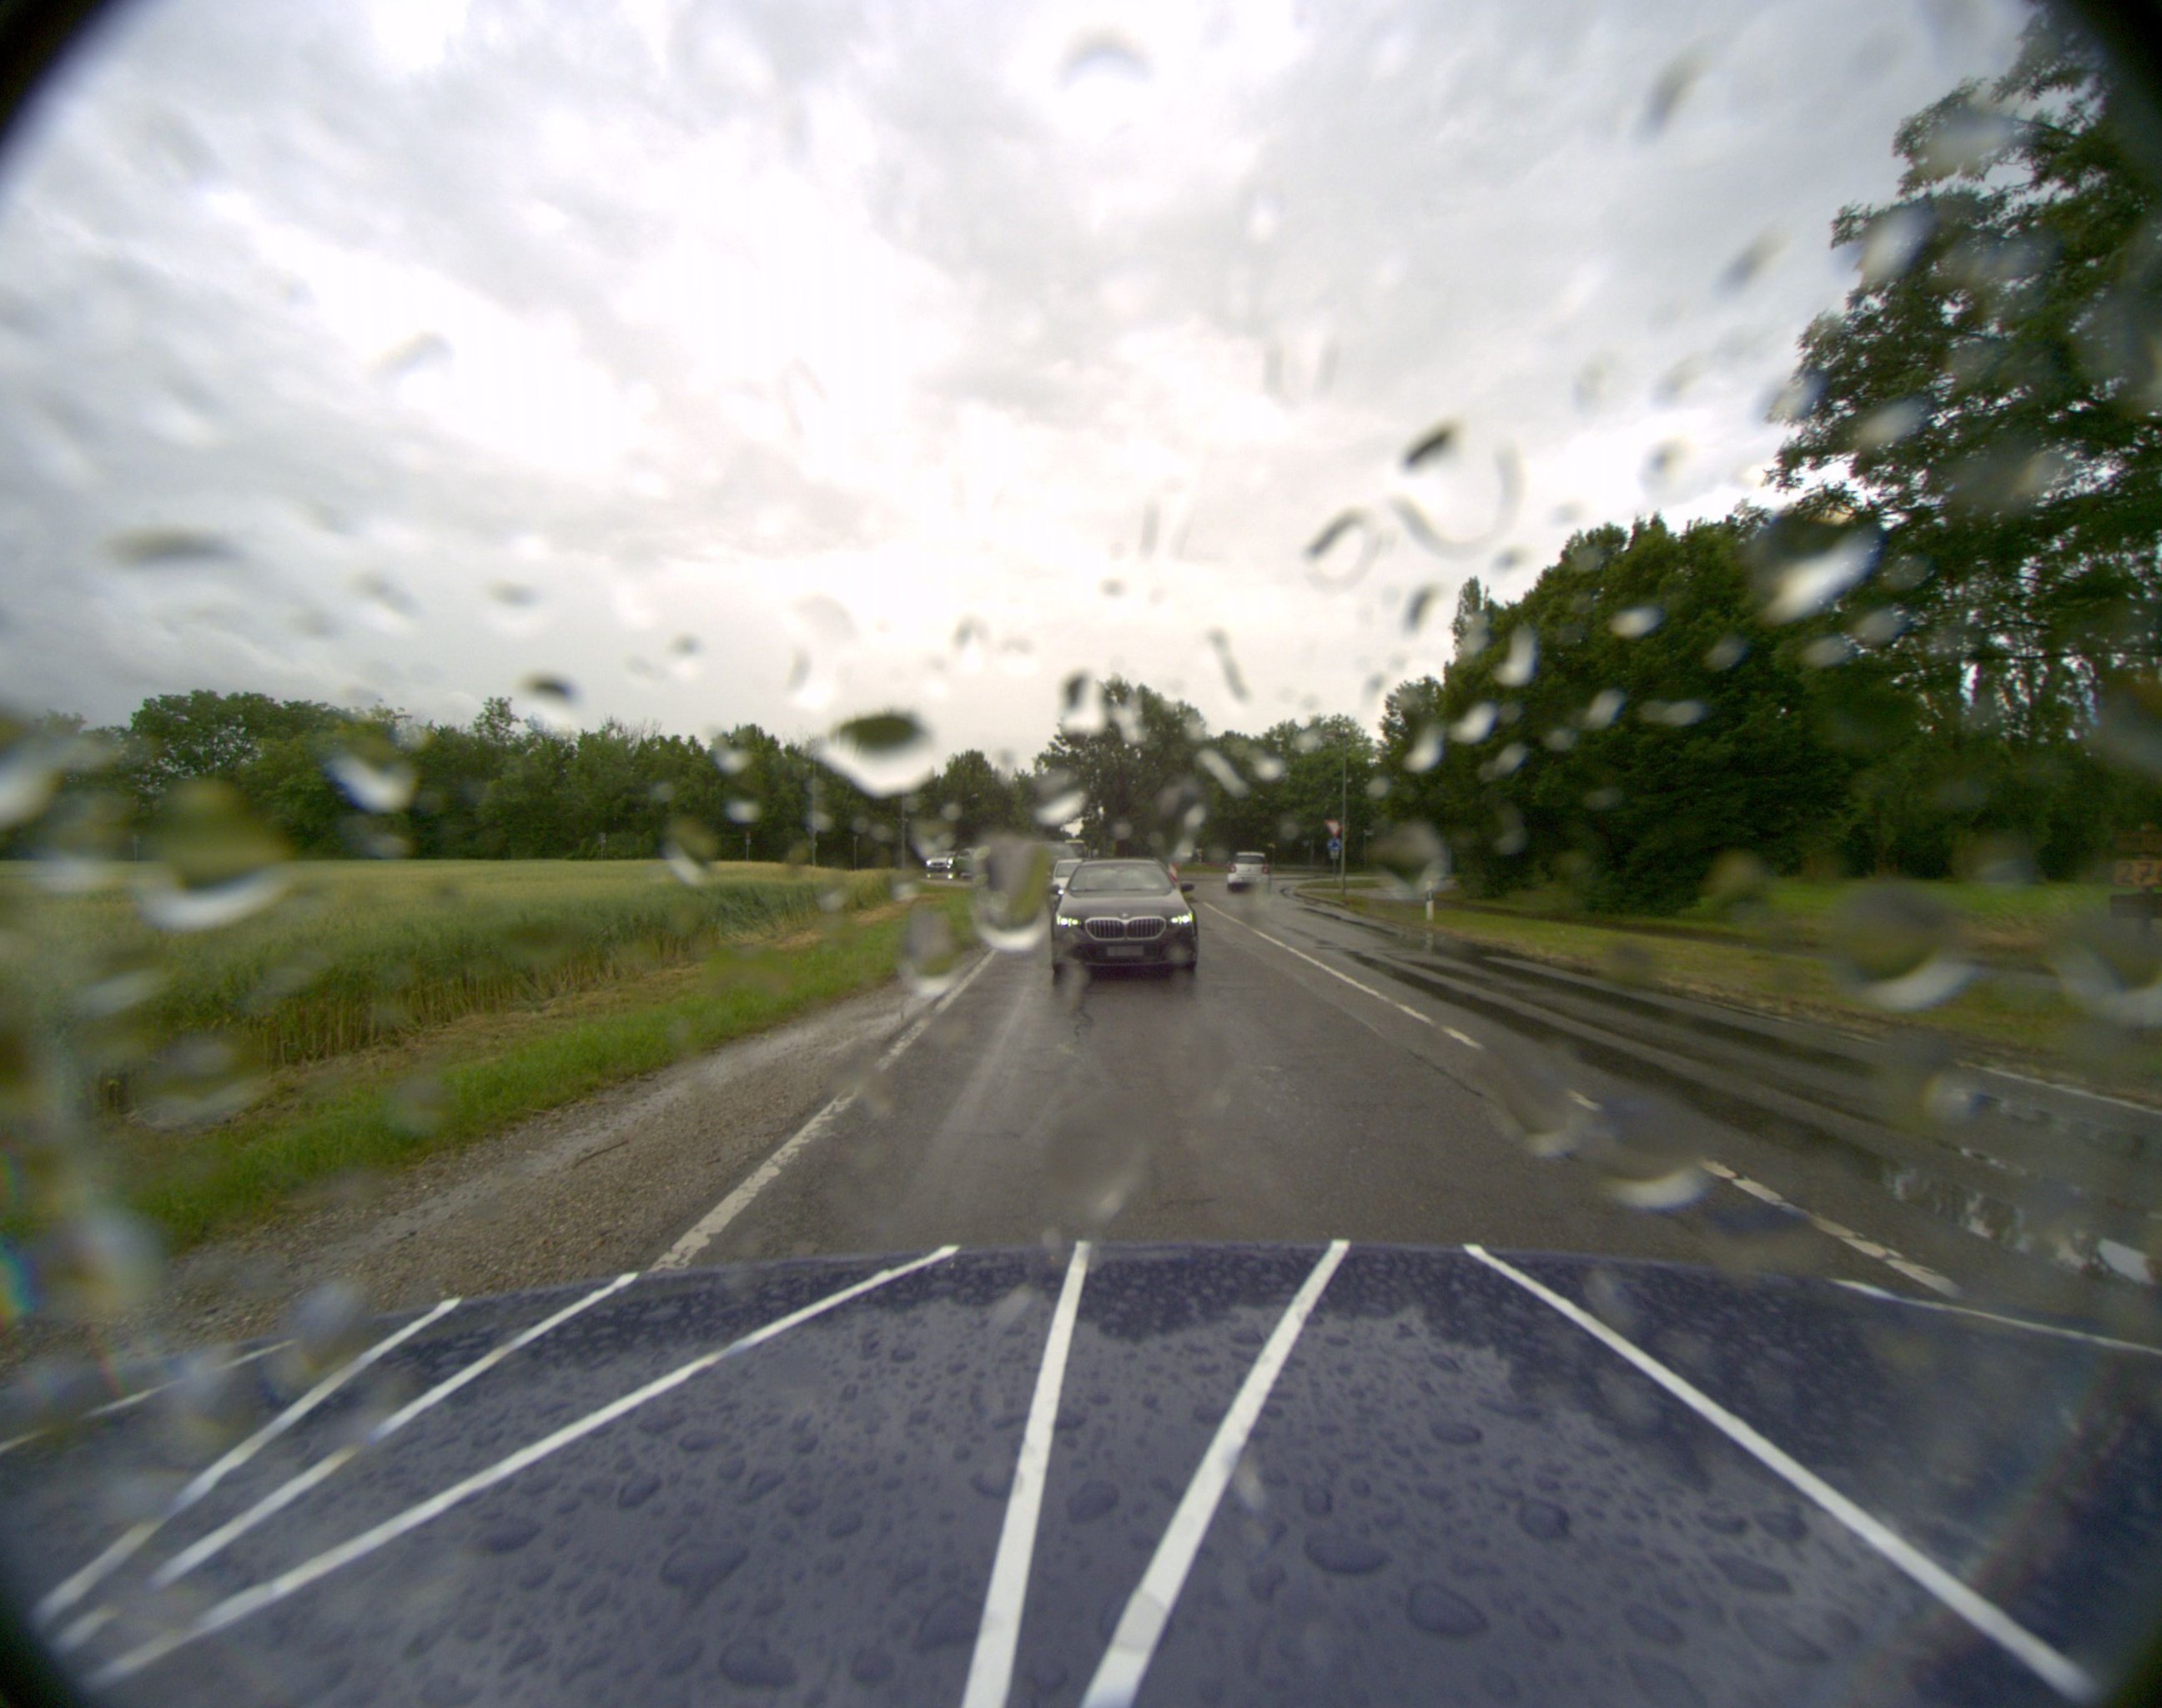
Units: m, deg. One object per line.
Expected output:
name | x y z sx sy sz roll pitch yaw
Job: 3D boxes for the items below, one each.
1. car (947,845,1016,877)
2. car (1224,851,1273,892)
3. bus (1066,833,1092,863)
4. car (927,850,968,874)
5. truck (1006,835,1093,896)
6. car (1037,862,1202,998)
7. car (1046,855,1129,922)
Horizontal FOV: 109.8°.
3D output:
car | -5.368 0.355 40.282 1.896 1.522 5.244 -2 0 -28
car | 6.649 0.669 30.460 1.678 1.490 3.737 2 0 10
bus | -0.141 -0.776 98.675 2.995 3.665 14.294 1 0 1
car | -8.872 0.514 50.813 1.892 1.522 4.502 -1 0 0
truck | -1.402 0.355 30.323 2.078 2.051 5.759 -4 3 -16
car | 0.504 0.914 10.886 1.891 1.484 4.035 -1 0 2
car | 0.058 0.841 20.483 1.892 1.482 4.189 -1 1 -4
